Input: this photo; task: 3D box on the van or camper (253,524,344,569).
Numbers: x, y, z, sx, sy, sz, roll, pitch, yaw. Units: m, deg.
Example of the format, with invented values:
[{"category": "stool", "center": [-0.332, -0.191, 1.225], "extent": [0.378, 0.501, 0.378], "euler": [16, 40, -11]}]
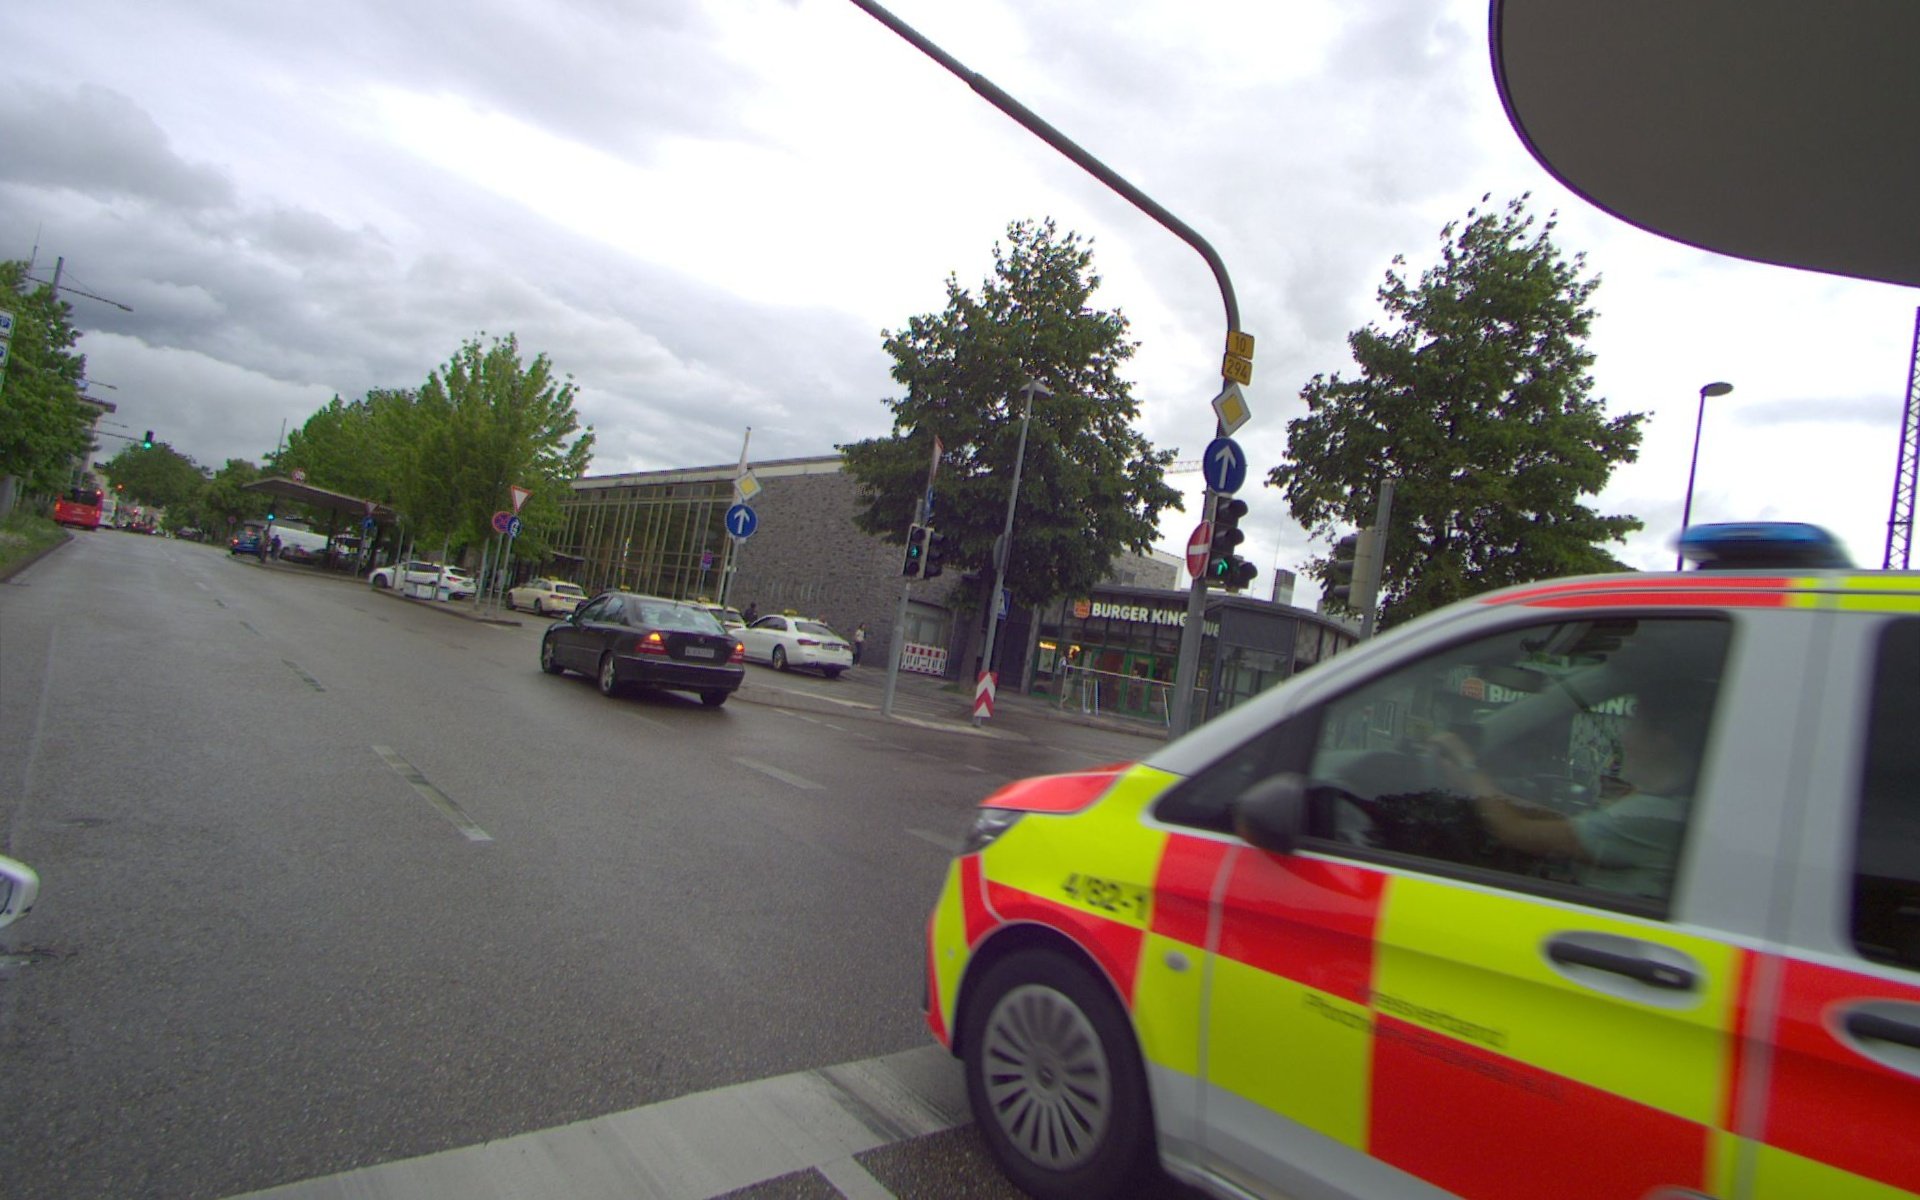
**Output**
[{"category": "van or camper", "center": [-55.241, -4.403, 84.163], "extent": [2.159, 2.794, 5.969], "euler": [7, -2, 23]}]

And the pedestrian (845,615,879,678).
[{"category": "pedestrian", "center": [-3.534, 1.696, 36.463], "extent": [0.709, 2.189, 0.798], "euler": [7, -1, 19]}]

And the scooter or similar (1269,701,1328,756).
[{"category": "scooter or similar", "center": [8.524, 3.230, 25.353], "extent": [1.279, 1.196, 0.334], "euler": [7, -1, 17]}]

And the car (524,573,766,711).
[{"category": "car", "center": [-4.737, 0.533, 14.681], "extent": [1.688, 1.482, 4.403], "euler": [9, -2, -40]}]

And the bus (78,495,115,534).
[{"category": "bus", "center": [-97.896, -9.645, 113.958], "extent": [2.794, 3.792, 10.324], "euler": [6, -1, -42]}]

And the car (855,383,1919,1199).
[{"category": "car", "center": [2.145, 0.803, 2.153], "extent": [1.987, 2.037, 5.003], "euler": [9, -2, -41]}]

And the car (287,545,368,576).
[{"category": "car", "center": [-42.840, -2.641, 68.245], "extent": [1.809, 1.339, 4.198], "euler": [6, -4, 30]}]

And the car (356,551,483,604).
[{"category": "car", "center": [-23.739, -0.978, 44.266], "extent": [4.686, 1.563, 1.767], "euler": [8, -2, 11]}]

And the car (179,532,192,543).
[{"category": "car", "center": [-134.478, -10.830, 174.670], "extent": [1.589, 1.578, 3.610], "euler": [9, -2, -39]}]

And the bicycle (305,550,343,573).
[{"category": "bicycle", "center": [-37.514, -2.261, 59.360], "extent": [0.413, 1.068, 1.831], "euler": [7, -2, 32]}]

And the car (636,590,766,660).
[{"category": "car", "center": [-8.346, 0.765, 32.140], "extent": [1.986, 1.618, 4.904], "euler": [9, -2, -39]}]

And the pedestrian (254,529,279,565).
[{"category": "pedestrian", "center": [-36.936, -2.836, 53.562], "extent": [0.825, 1.766, 0.746], "euler": [6, -3, 42]}]

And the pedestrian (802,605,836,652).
[{"category": "pedestrian", "center": [-5.172, 1.050, 36.904], "extent": [0.766, 1.598, 0.702], "euler": [8, -2, -44]}]

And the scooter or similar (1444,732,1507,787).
[{"category": "scooter or similar", "center": [13.249, 4.096, 25.866], "extent": [1.279, 1.196, 0.334], "euler": [7, -1, 17]}]

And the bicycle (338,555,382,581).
[{"category": "bicycle", "center": [-31.502, -1.665, 52.849], "extent": [1.821, 1.068, 0.416], "euler": [9, -2, -41]}]

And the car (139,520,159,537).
[{"category": "car", "center": [-115.884, -10.241, 143.730], "extent": [1.986, 2.037, 3.957], "euler": [9, -2, -39]}]

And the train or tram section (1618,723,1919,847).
[{"category": "train or tram section", "center": [50.483, 10.546, 50.425], "extent": [4.574, 4.230, 28.986], "euler": [9, -2, -40]}]

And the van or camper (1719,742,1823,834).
[{"category": "van or camper", "center": [27.060, 6.158, 33.460], "extent": [2.137, 2.461, 5.838], "euler": [6, -3, 43]}]

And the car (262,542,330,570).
[{"category": "car", "center": [-52.121, -3.454, 79.033], "extent": [1.831, 1.458, 4.004], "euler": [7, -4, 24]}]

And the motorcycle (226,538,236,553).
[{"category": "motorcycle", "center": [-68.628, -5.140, 94.699], "extent": [0.592, 1.303, 1.936], "euler": [9, -2, -34]}]

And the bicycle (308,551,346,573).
[{"category": "bicycle", "center": [-37.156, -2.223, 59.079], "extent": [0.413, 1.068, 1.831], "euler": [7, -2, 32]}]

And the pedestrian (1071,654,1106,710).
[{"category": "pedestrian", "center": [4.071, 2.599, 31.867], "extent": [0.764, 1.687, 0.645], "euler": [5, -1, 28]}]

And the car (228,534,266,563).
[{"category": "car", "center": [-48.055, -3.467, 67.806], "extent": [1.850, 1.586, 3.962], "euler": [10, -4, -36]}]

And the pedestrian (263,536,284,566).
[{"category": "pedestrian", "center": [-45.838, -3.245, 67.176], "extent": [0.853, 1.855, 1.177], "euler": [9, -3, -40]}]

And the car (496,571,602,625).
[{"category": "car", "center": [-16.990, -0.090, 41.484], "extent": [4.891, 1.618, 1.991], "euler": [6, -2, 42]}]

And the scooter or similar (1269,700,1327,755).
[{"category": "scooter or similar", "center": [8.703, 3.278, 25.927], "extent": [1.279, 1.196, 0.334], "euler": [7, -1, 17]}]

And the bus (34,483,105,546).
[{"category": "bus", "center": [-69.367, -6.616, 78.517], "extent": [3.533, 4.025, 11.045], "euler": [9, -2, -41]}]

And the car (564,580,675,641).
[{"category": "car", "center": [-12.592, 0.344, 36.985], "extent": [1.989, 1.617, 4.901], "euler": [11, -3, -41]}]

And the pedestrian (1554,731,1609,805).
[{"category": "pedestrian", "center": [14.507, 3.916, 23.490], "extent": [0.825, 1.547, 0.638], "euler": [7, -1, 20]}]

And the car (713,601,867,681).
[{"category": "car", "center": [-4.787, 1.089, 27.783], "extent": [1.873, 1.618, 4.850], "euler": [9, -2, -39]}]

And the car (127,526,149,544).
[{"category": "car", "center": [-107.239, -8.488, 131.223], "extent": [1.986, 2.037, 3.957], "euler": [9, -2, -39]}]

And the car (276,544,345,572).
[{"category": "car", "center": [-50.189, -3.241, 77.832], "extent": [1.831, 1.458, 4.004], "euler": [7, -4, 24]}]

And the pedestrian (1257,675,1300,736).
[{"category": "pedestrian", "center": [9.492, 3.133, 29.986], "extent": [0.715, 1.686, 0.791], "euler": [8, -1, -30]}]

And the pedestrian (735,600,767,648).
[{"category": "pedestrian", "center": [-7.642, 0.902, 36.846], "extent": [0.782, 1.645, 0.723], "euler": [7, -1, 6]}]

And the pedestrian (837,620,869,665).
[{"category": "pedestrian", "center": [-3.873, 1.547, 36.313], "extent": [0.709, 1.494, 0.798], "euler": [7, -1, 19]}]
